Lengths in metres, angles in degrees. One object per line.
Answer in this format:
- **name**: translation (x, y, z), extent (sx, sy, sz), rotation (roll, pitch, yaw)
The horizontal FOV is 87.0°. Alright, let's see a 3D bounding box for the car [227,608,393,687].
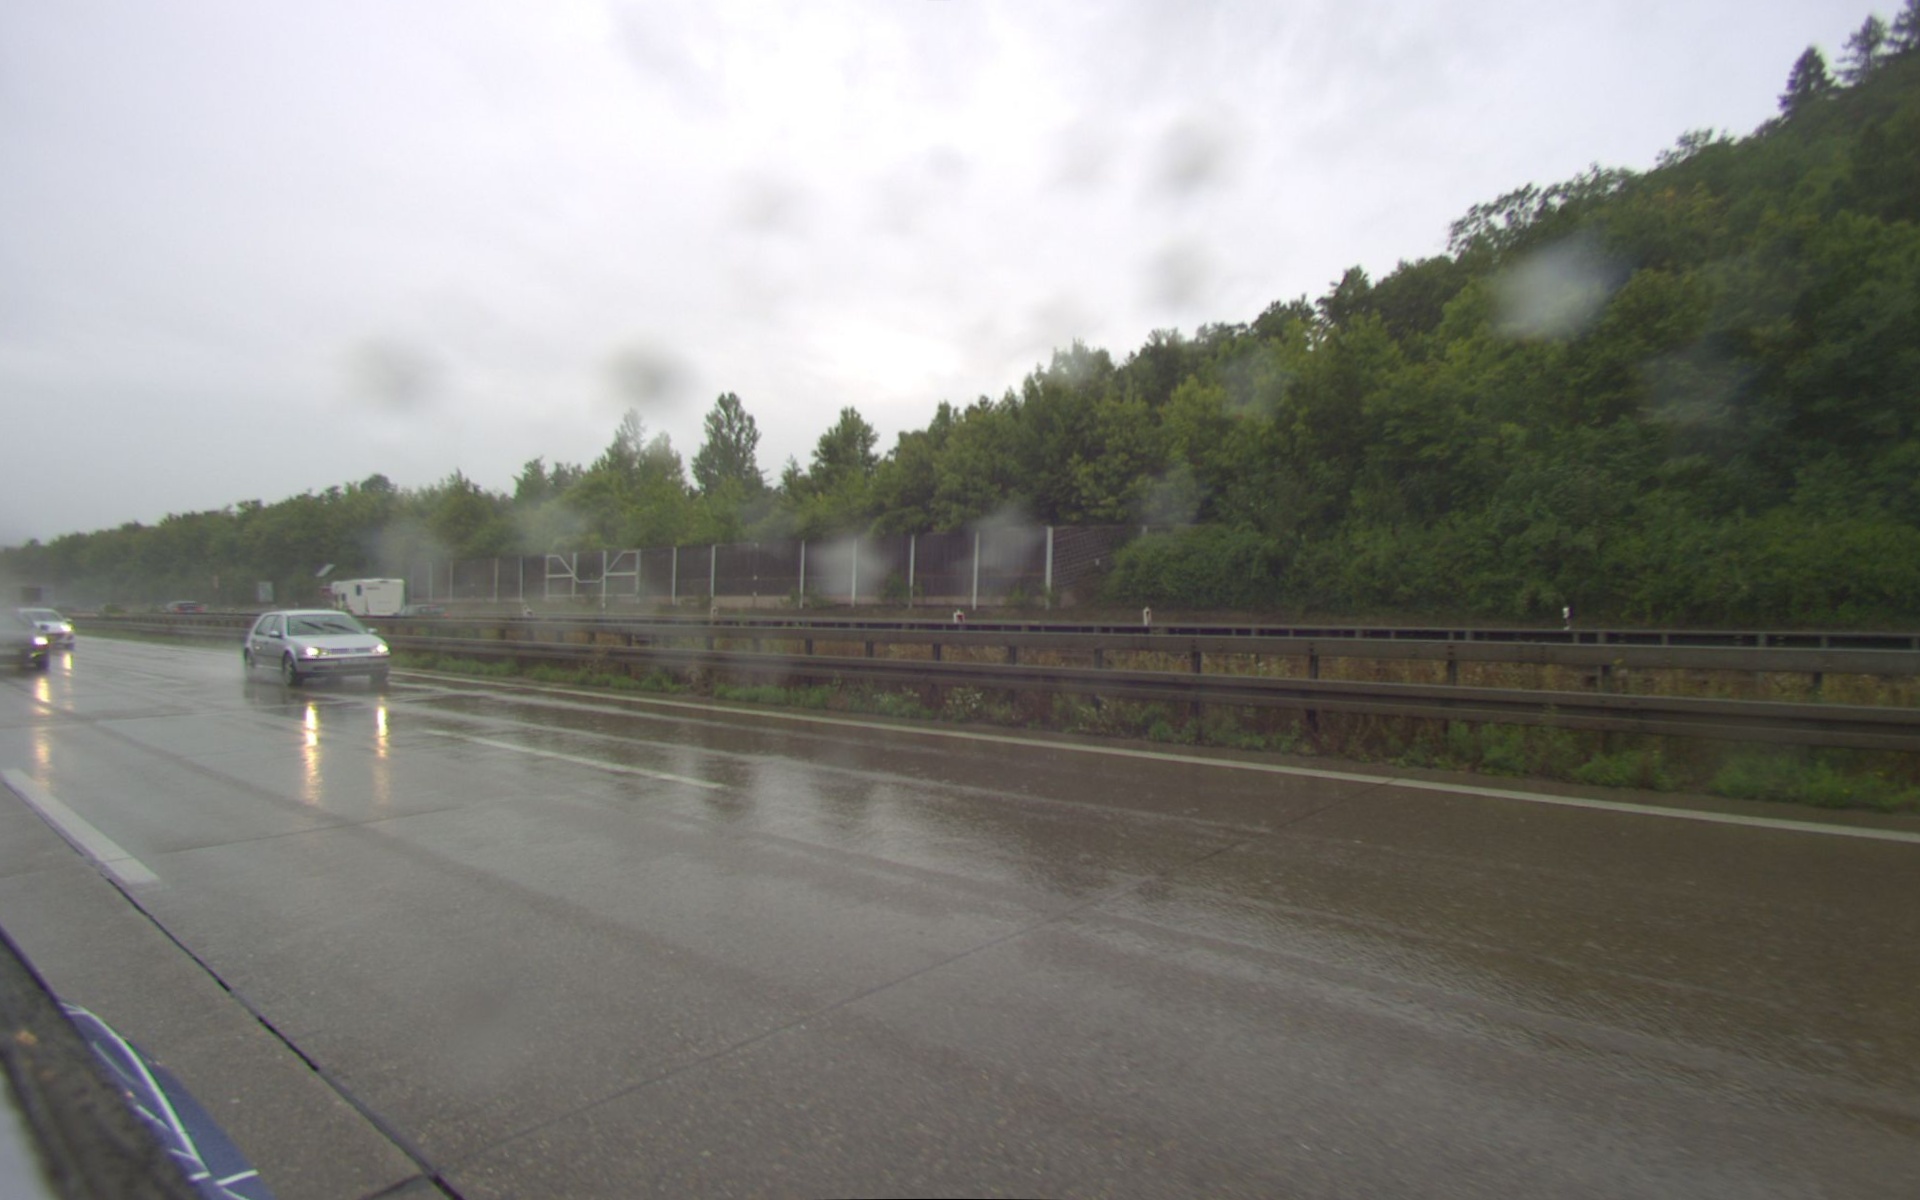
- **car**: translation (-13.204, 0.895, 20.465), extent (4.347, 1.445, 1.650), rotation (-1, -1, 41)

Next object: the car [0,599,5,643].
- **car**: translation (-61.512, 1.283, 63.196), extent (6.399, 2.651, 2.019), rotation (-1, -2, 40)

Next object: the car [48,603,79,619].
- **car**: translation (-95.758, 1.183, 108.089), extent (3.997, 1.696, 1.973), rotation (-1, -1, 41)

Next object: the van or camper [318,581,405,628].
- **van or camper**: translation (-37.362, 0.301, 63.084), extent (7.495, 2.738, 2.529), rotation (-1, -1, 41)

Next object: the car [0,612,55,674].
- **car**: translation (-24.208, 1.034, 25.210), extent (4.516, 1.445, 1.909), rotation (-1, -2, 41)

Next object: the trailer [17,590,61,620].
- **trailer**: translation (-123.632, 0.722, 135.708), extent (13.771, 3.830, 2.739), rotation (-1, 1, 41)

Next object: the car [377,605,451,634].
- **car**: translation (-27.217, 0.965, 50.433), extent (4.340, 1.313, 1.735), rotation (-1, 1, 40)

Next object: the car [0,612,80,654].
- **car**: translation (-34.071, 1.186, 37.193), extent (4.514, 1.445, 1.909), rotation (-1, -2, 40)

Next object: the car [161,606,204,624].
- **car**: translation (-60.492, 1.173, 78.749), extent (4.340, 1.313, 1.735), rotation (-1, 1, 40)
